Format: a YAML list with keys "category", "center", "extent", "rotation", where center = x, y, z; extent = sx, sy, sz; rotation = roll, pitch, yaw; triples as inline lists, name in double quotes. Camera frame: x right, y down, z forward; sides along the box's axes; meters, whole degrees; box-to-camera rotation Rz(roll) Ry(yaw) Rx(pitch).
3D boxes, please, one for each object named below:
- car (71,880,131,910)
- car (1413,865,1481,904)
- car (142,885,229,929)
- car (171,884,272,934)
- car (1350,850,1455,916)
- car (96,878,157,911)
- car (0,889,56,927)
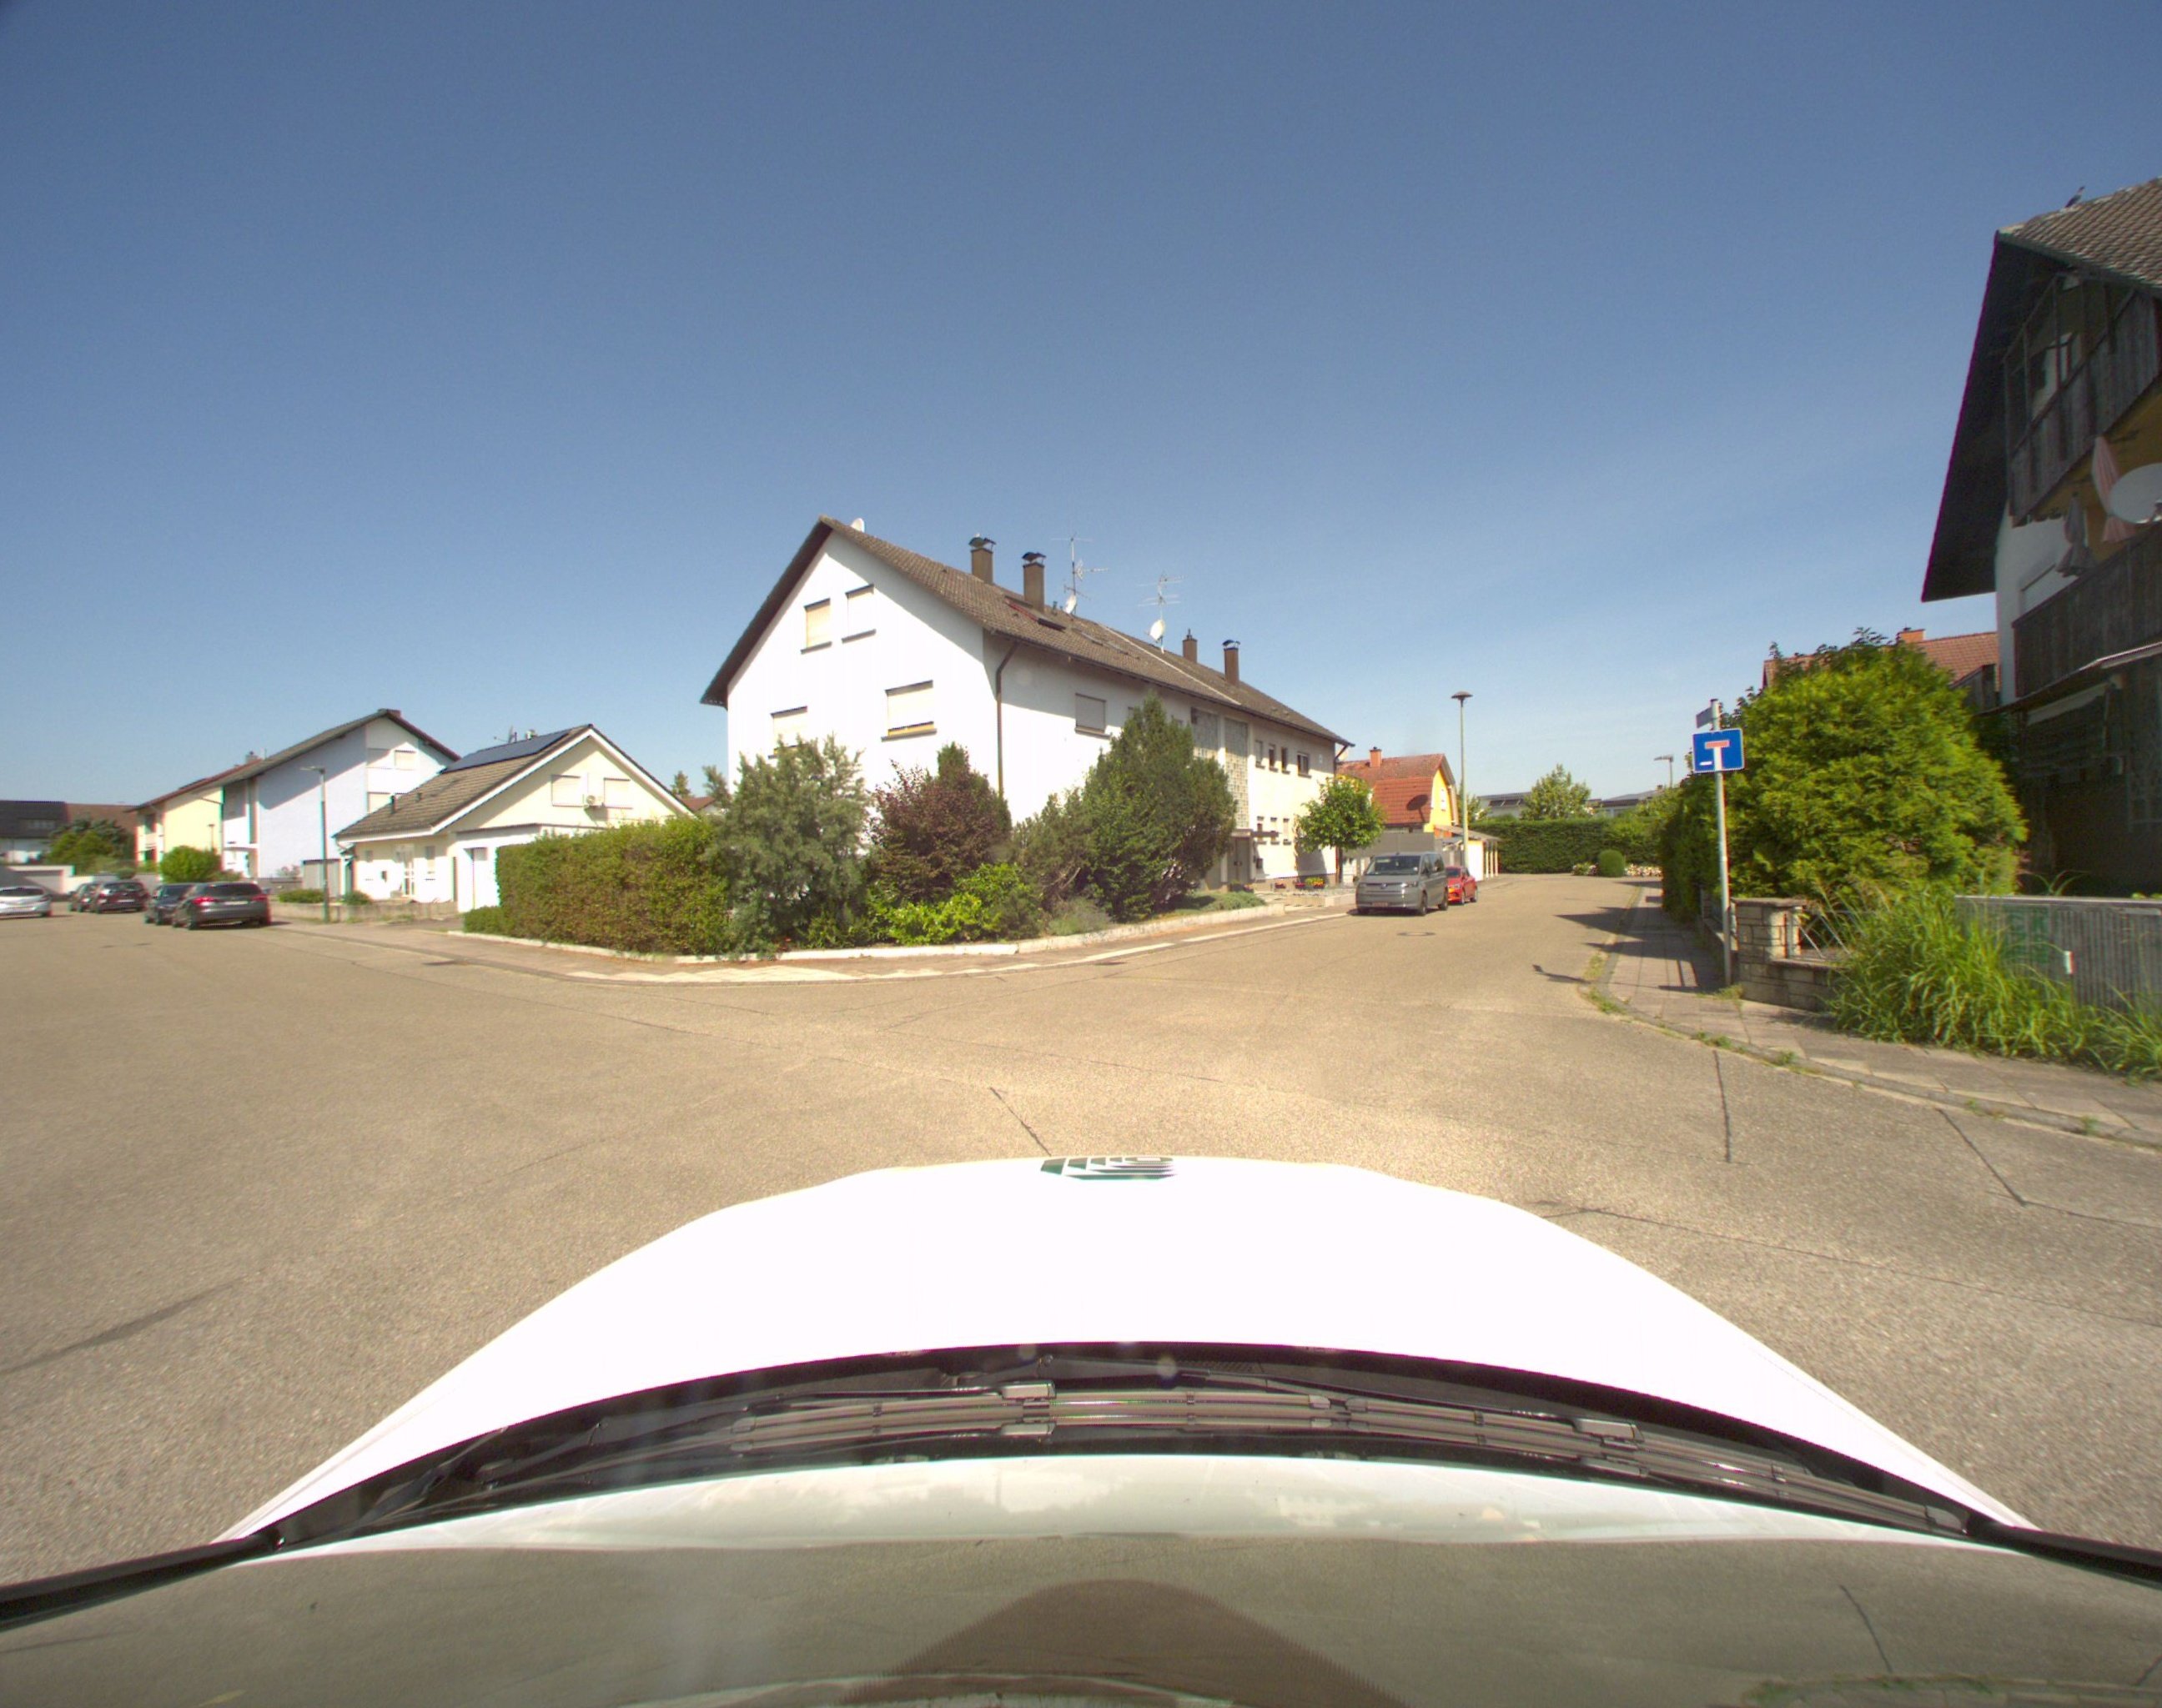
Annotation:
- category: "car"
  center: [-53.764, 2.215, 44.676]
  extent: [3.995, 1.546, 1.661]
  rotation: [-1, 0, 33]
- category: "car"
  center: [13.816, 1.106, 30.623]
  extent: [1.636, 1.365, 3.803]
  rotation: [-1, -1, 34]
- category: "car"
  center: [-33.087, 1.920, 30.070]
  extent: [4.444, 1.438, 1.734]
  rotation: [-2, -1, 37]
- category: "car"
  center: [-28.222, 1.757, 26.709]
  extent: [3.948, 1.479, 1.658]
  rotation: [-1, -2, 34]
- category: "car"
  center: [10.030, 0.812, 25.211]
  extent: [1.883, 1.870, 4.399]
  rotation: [0, 0, 37]
- category: "car"
  center: [-49.285, 2.051, 42.031]
  extent: [4.093, 1.581, 1.661]
  rotation: [-1, 0, 35]
- category: "car"
  center: [-48.522, 2.446, 37.336]
  extent: [3.760, 1.581, 1.661]
  rotation: [-1, 0, 35]
